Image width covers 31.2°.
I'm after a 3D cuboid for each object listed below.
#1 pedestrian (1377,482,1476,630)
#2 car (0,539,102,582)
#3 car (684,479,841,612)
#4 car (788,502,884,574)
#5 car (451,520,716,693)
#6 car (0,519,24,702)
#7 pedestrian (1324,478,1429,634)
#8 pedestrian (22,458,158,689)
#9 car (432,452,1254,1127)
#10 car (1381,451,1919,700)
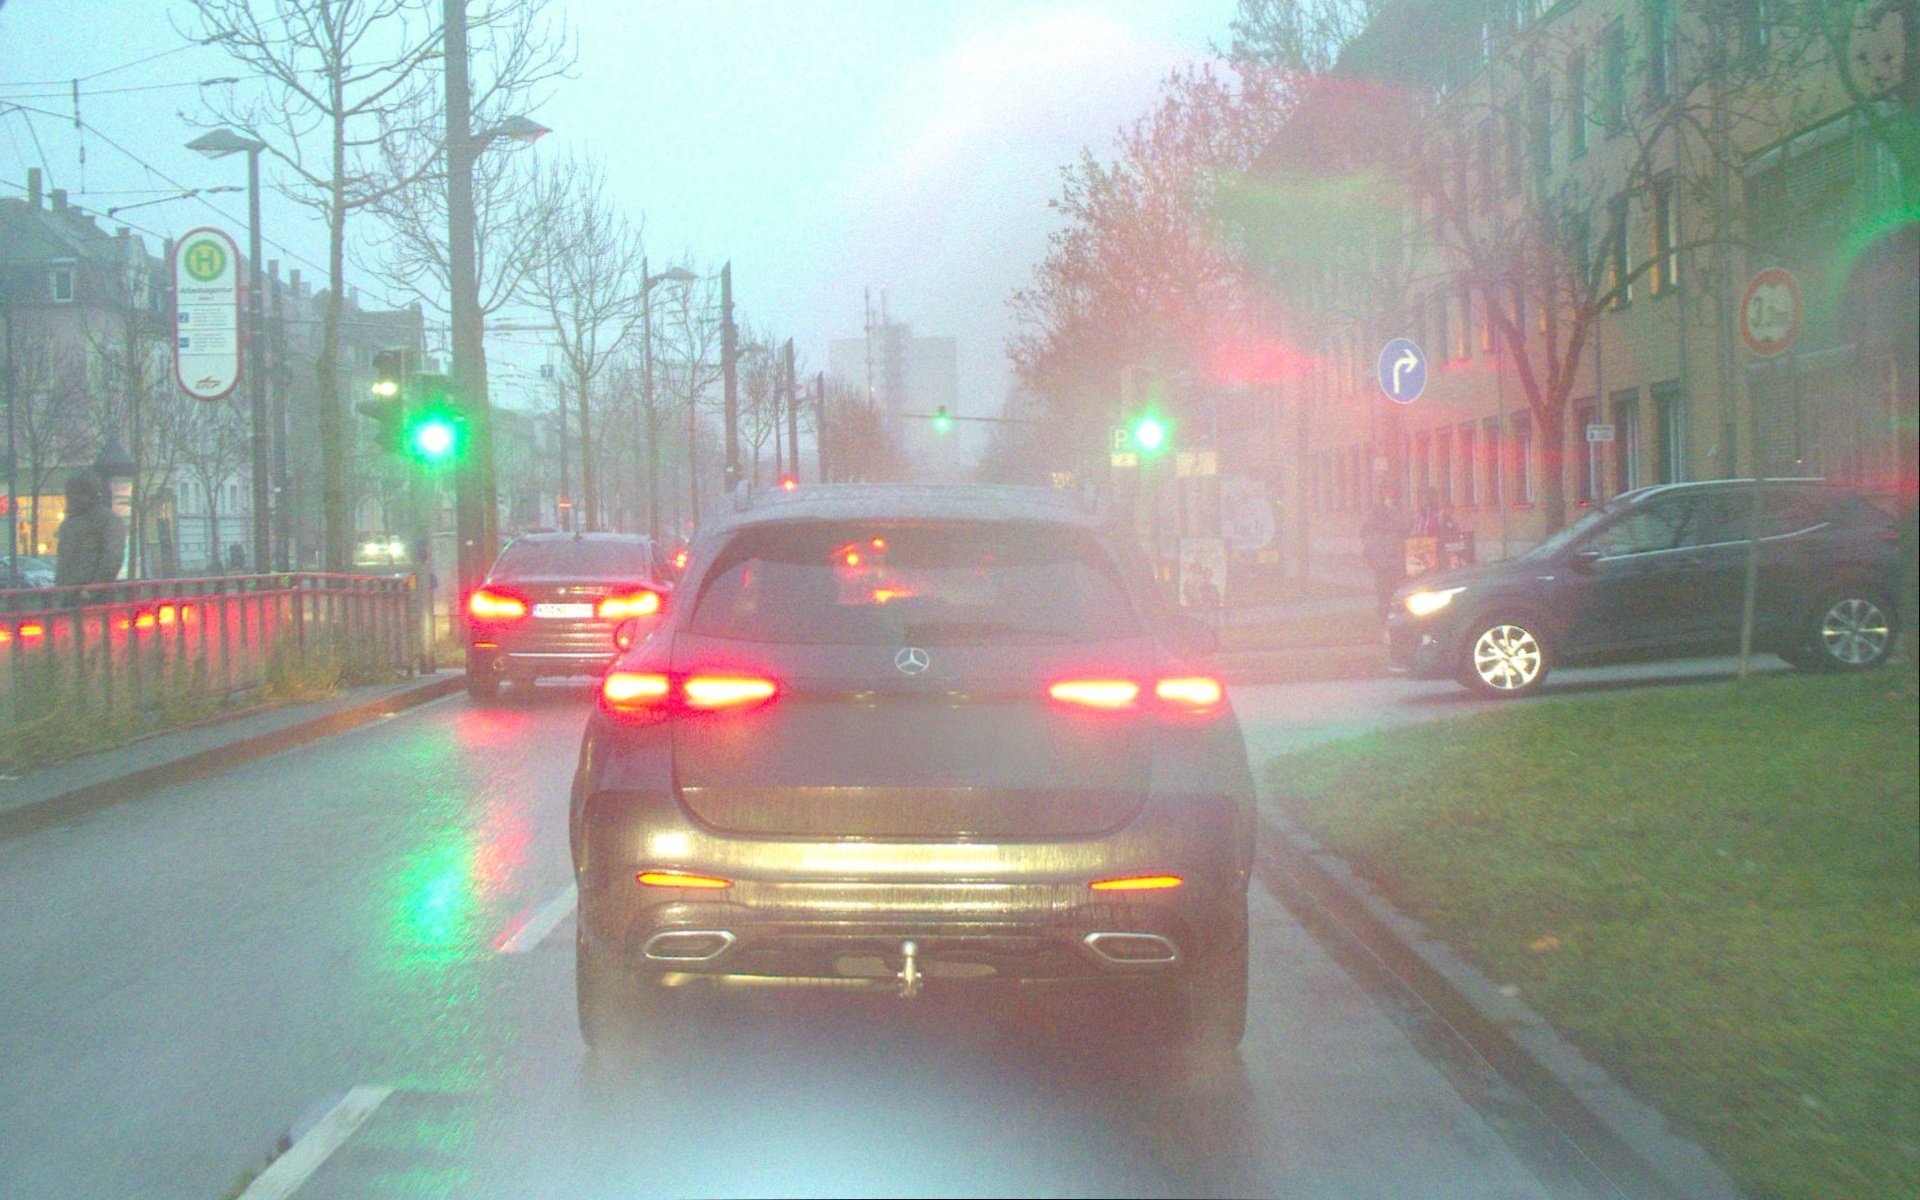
[{"bbox_3d":[5.148,-0.481,37.943,0.903,1.590,0.501,-1,2,42],"label":"pedestrian"},{"bbox_3d":[-27.834,-1.152,102.928,3.774,1.152,1.649,-2,1,5],"label":"car"},{"bbox_3d":[-2.787,-0.802,49.308,1.993,1.759,4.000,-2,2,0],"label":"car"},{"bbox_3d":[-2.923,-1.497,81.829,1.993,1.612,4.000,-2,2,2],"label":"car"},{"bbox_3d":[-3.351,0.006,31.319,1.993,1.393,4.000,-2,2,-1],"label":"car"},{"bbox_3d":[-10.530,0.180,32.895,1.993,1.816,4.000,-3,1,0],"label":"car"},{"bbox_3d":[4.335,-0.452,35.789,0.903,1.590,0.501,-1,2,42],"label":"pedestrian"},{"bbox_3d":[-6.010,-0.191,23.778,0.699,1.547,0.669,-2,1,0],"label":"pedestrian"},{"bbox_3d":[-0.304,0.421,10.574,1.991,1.610,4.000,-2,2,0],"label":"car"},{"bbox_3d":[5.291,-0.205,26.273,3.860,1.555,1.765,-4,1,2],"label":"car"}]
